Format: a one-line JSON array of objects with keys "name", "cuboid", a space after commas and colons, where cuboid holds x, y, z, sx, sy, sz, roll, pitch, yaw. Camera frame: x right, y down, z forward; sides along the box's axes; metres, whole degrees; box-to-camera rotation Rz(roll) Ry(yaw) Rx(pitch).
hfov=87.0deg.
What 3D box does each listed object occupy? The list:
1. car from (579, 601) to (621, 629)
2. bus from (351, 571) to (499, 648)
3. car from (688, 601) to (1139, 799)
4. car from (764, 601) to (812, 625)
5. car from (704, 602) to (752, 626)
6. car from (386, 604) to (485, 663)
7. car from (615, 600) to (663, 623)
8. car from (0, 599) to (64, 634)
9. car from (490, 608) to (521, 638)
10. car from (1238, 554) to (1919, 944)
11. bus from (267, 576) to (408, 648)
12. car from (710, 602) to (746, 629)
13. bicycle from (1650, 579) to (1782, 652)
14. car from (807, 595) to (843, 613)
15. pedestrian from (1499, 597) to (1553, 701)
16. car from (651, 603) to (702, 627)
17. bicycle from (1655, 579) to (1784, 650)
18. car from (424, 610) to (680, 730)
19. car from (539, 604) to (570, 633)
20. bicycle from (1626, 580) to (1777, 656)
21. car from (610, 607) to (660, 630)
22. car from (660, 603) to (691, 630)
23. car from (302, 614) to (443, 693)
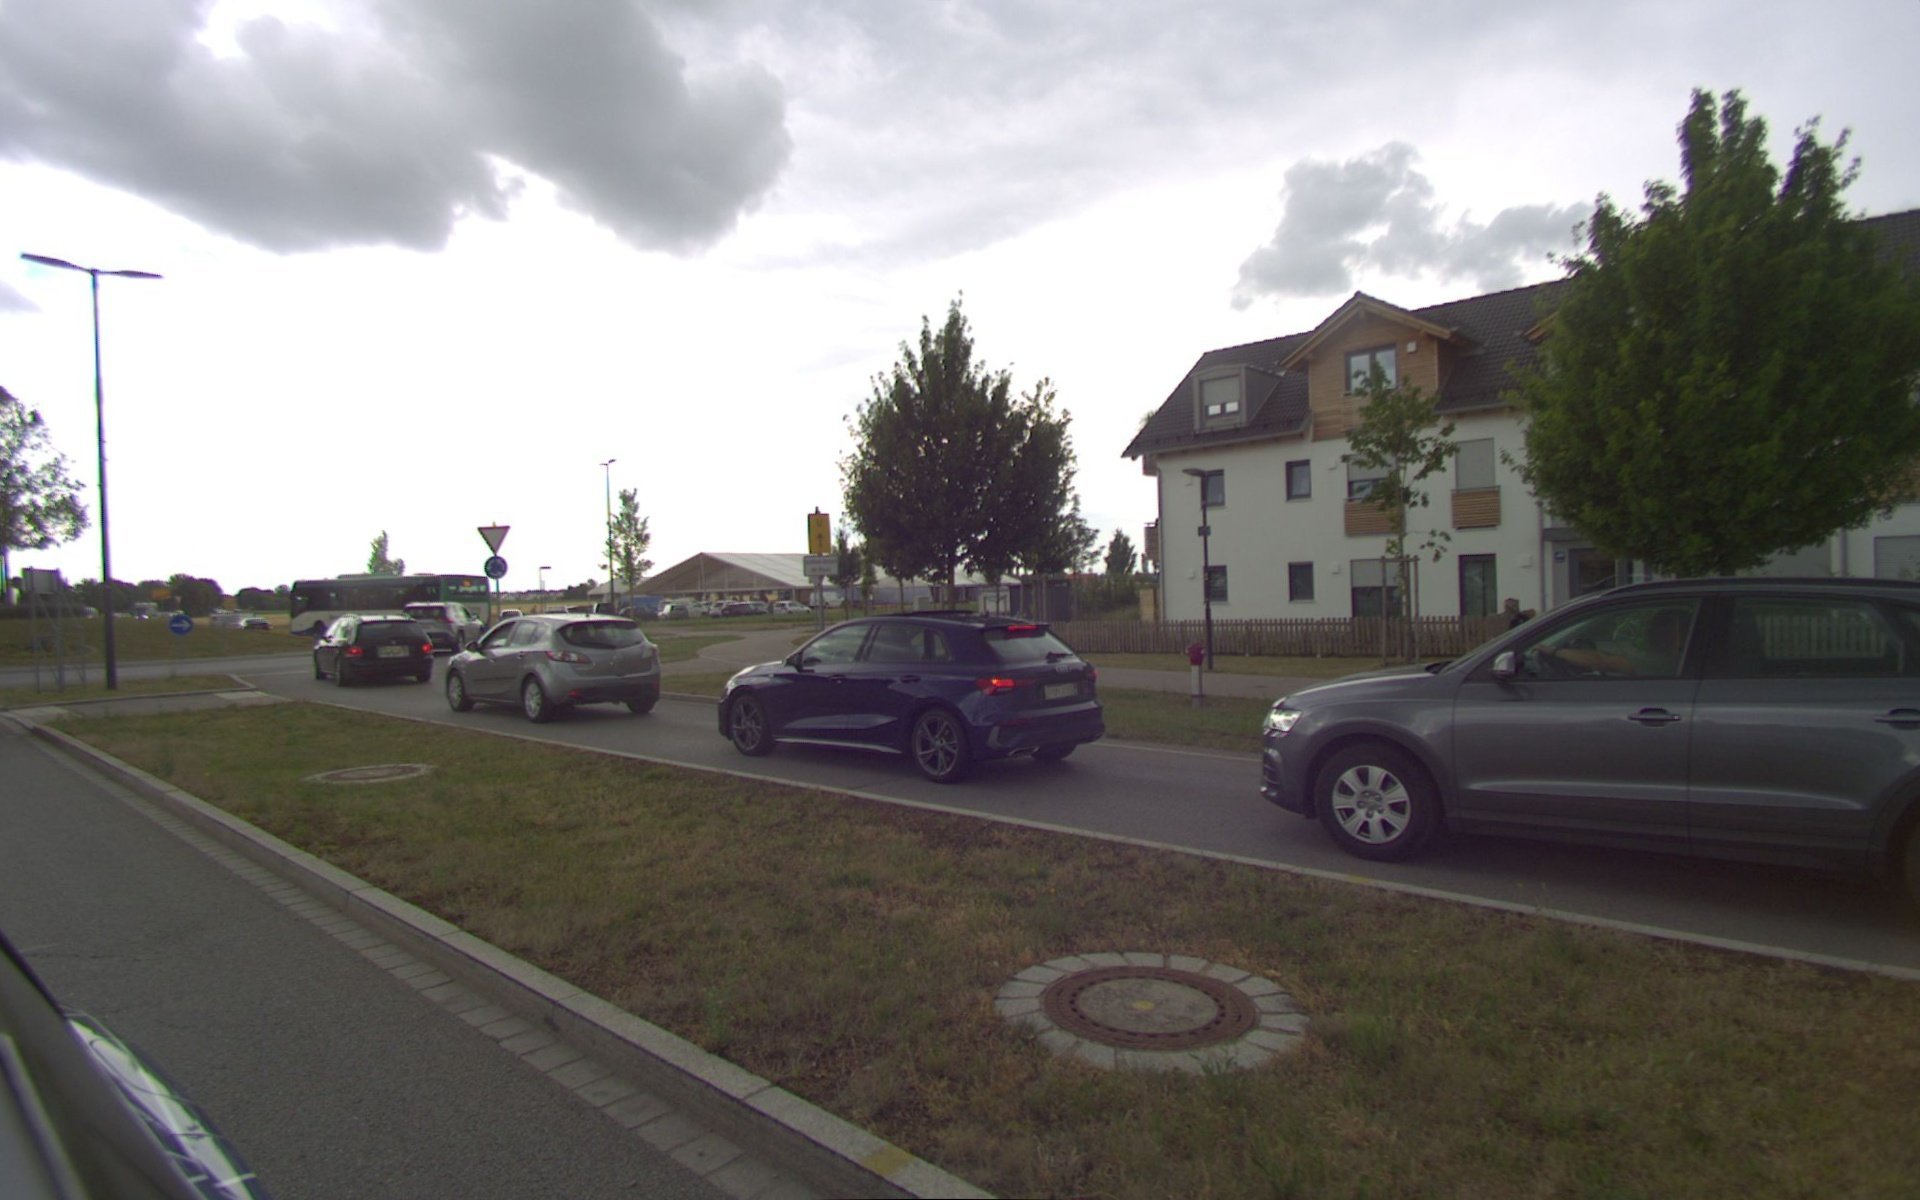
[{"name": "car", "cuboid": [-26.653, 1.121, 74.885, 1.966, 2.029, 4.011, 0, -1, -33]}, {"name": "bus", "cuboid": [-24.611, 0.492, 46.511, 6.454, 3.305, 2.965, -1, -1, 28]}, {"name": "car", "cuboid": [-0.627, 0.810, 9.828, 4.348, 1.500, 1.806, -2, -1, 42]}, {"name": "car", "cuboid": [-14.577, 1.094, 85.934, 1.991, 2.029, 3.961, -1, -1, 29]}, {"name": "car", "cuboid": [-20.222, 1.225, 88.263, 1.991, 2.029, 3.961, -1, -1, 29]}, {"name": "car", "cuboid": [-16.784, 1.008, 32.623, 1.801, 1.735, 4.411, 0, 0, -13]}, {"name": "car", "cuboid": [-29.955, 1.074, 94.582, 1.991, 2.029, 3.961, -1, -1, 29]}, {"name": "car", "cuboid": [-47.794, 0.841, 51.181, 1.967, 1.697, 4.010, -1, -1, -12]}, {"name": "car", "cuboid": [-32.739, 1.639, 72.949, 1.965, 2.029, 4.013, -1, -1, -24]}, {"name": "car", "cuboid": [3.863, 0.631, 5.413, 4.214, 1.594, 1.806, -2, -1, 42]}, {"name": "bus", "cuboid": [-30.494, 0.639, 49.521, 6.670, 3.305, 2.965, -1, -1, 28]}, {"name": "car", "cuboid": [-18.436, 1.218, 80.317, 2.194, 2.029, 4.013, -1, -1, -21]}, {"name": "bicycle", "cuboid": [15.431, 0.330, 20.696, 2.093, 1.428, 0.675, -2, -1, 41]}, {"name": "car", "cuboid": [-16.023, 0.514, 120.557, 1.991, 2.029, 4.523, -1, -1, 29]}, {"name": "pedestrian", "cuboid": [8.727, 0.739, 15.601, 0.586, 1.541, 0.540, -2, 1, 41]}, {"name": "car", "cuboid": [-24.933, 1.319, 89.056, 1.994, 2.029, 3.956, -2, -1, 32]}, {"name": "bicycle", "cuboid": [15.940, 0.312, 21.275, 2.093, 1.439, 0.675, -2, -1, 41]}, {"name": "car", "cuboid": [-6.091, 0.936, 14.865, 4.214, 1.500, 1.806, -2, -1, 42]}, {"name": "car", "cuboid": [-29.597, 1.363, 73.814, 1.965, 2.029, 4.013, -1, -1, -24]}, {"name": "bicycle", "cuboid": [14.592, 0.354, 19.969, 2.342, 1.423, 0.675, -2, -1, 41]}, {"name": "car", "cuboid": [-28.756, 1.617, 89.730, 1.991, 2.029, 3.961, -1, -1, 29]}, {"name": "car", "cuboid": [-22.418, 1.279, 79.728, 1.965, 2.029, 4.013, -1, -1, -21]}, {"name": "car", "cuboid": [-12.830, 1.099, 21.971, 1.803, 1.500, 4.342, 0, -1, -42]}]
